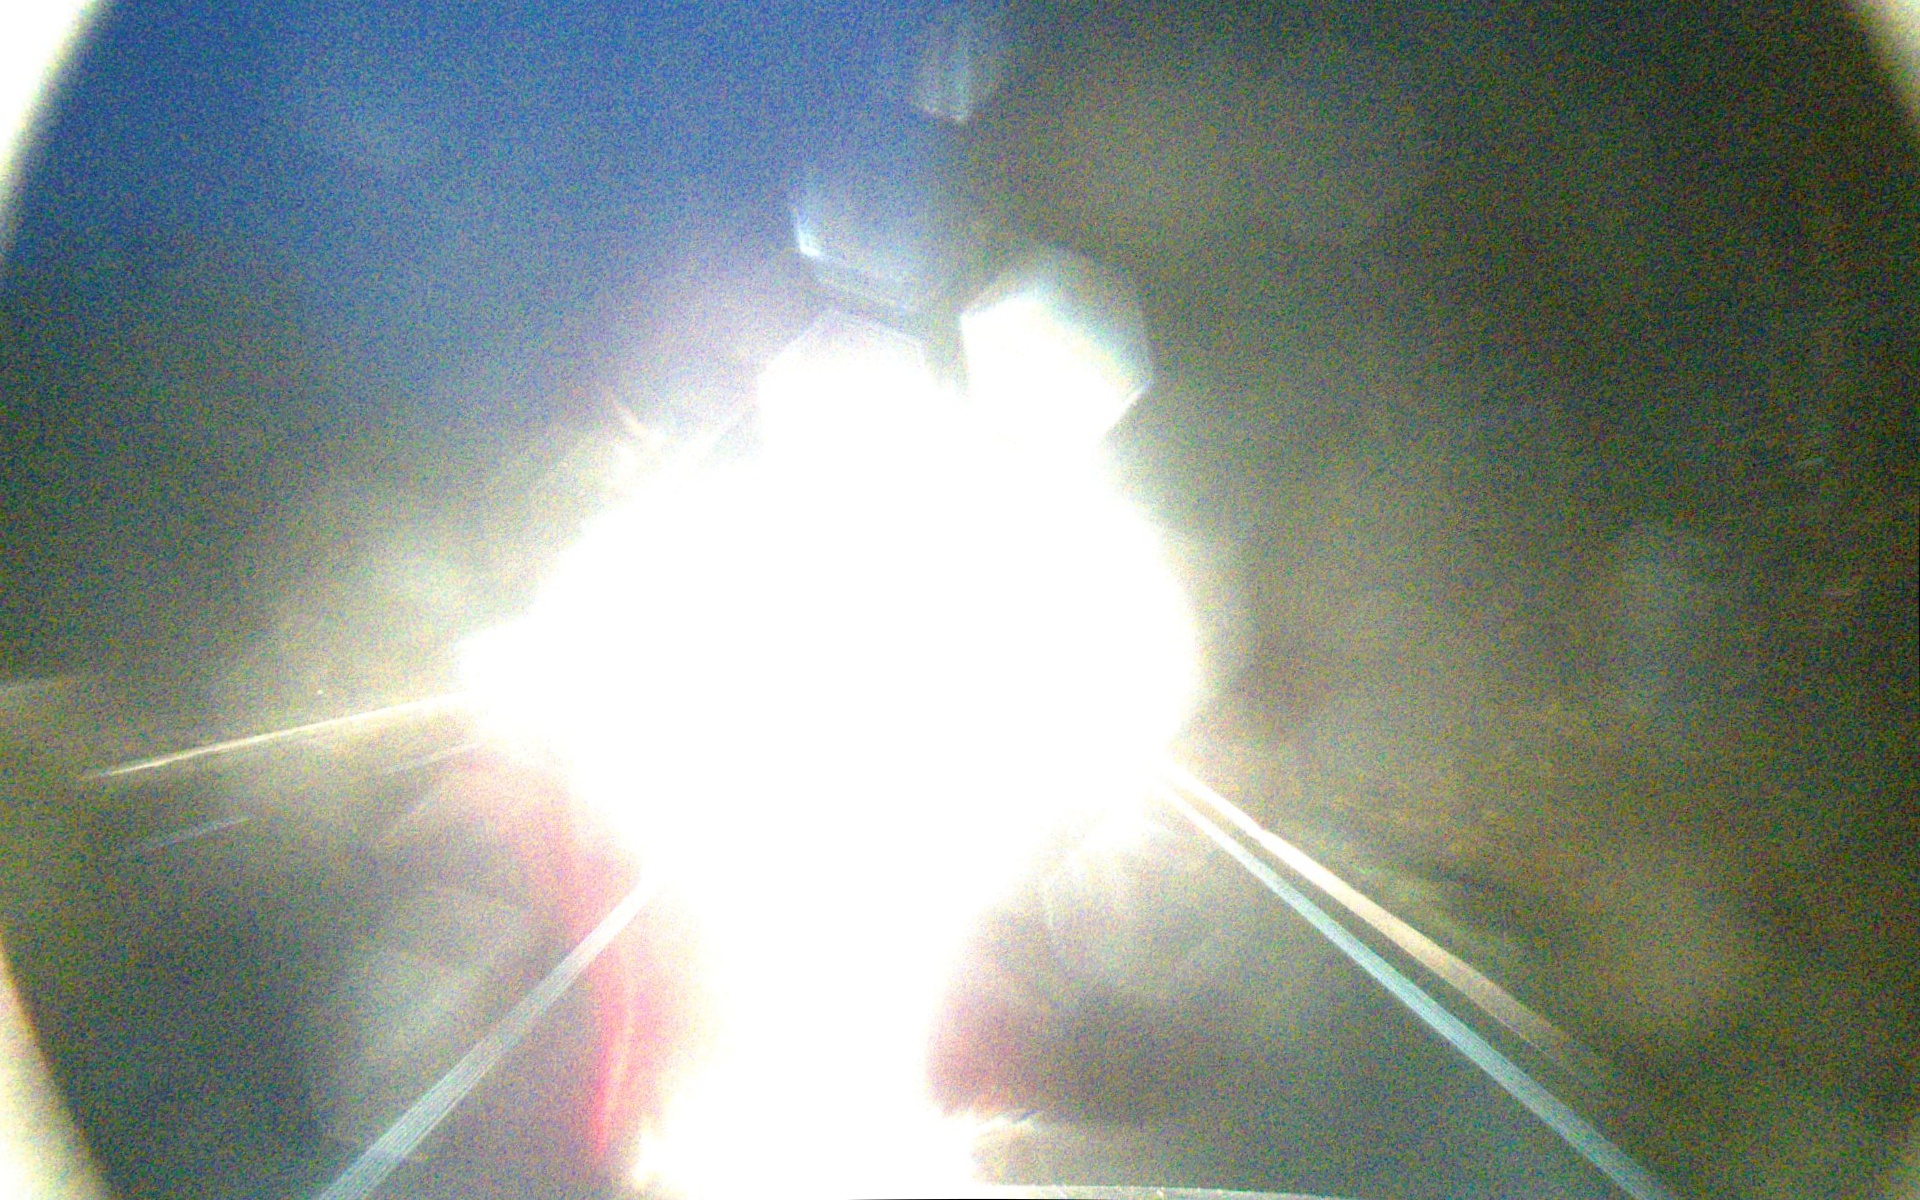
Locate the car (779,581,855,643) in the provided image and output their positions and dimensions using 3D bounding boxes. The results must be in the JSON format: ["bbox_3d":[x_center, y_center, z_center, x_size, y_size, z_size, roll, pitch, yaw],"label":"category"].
[{"bbox_3d":[-4.084,0.307,47.660,1.850,1.700,4.000,-1,1,-1],"label":"car"}]

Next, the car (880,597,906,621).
[{"bbox_3d":[-4.328,0.572,106.788,1.666,1.493,4.040,-1,1,-2],"label":"car"}]

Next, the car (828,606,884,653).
[{"bbox_3d":[-3.904,1.096,62.639,1.850,1.614,4.000,-1,1,-1],"label":"car"}]
